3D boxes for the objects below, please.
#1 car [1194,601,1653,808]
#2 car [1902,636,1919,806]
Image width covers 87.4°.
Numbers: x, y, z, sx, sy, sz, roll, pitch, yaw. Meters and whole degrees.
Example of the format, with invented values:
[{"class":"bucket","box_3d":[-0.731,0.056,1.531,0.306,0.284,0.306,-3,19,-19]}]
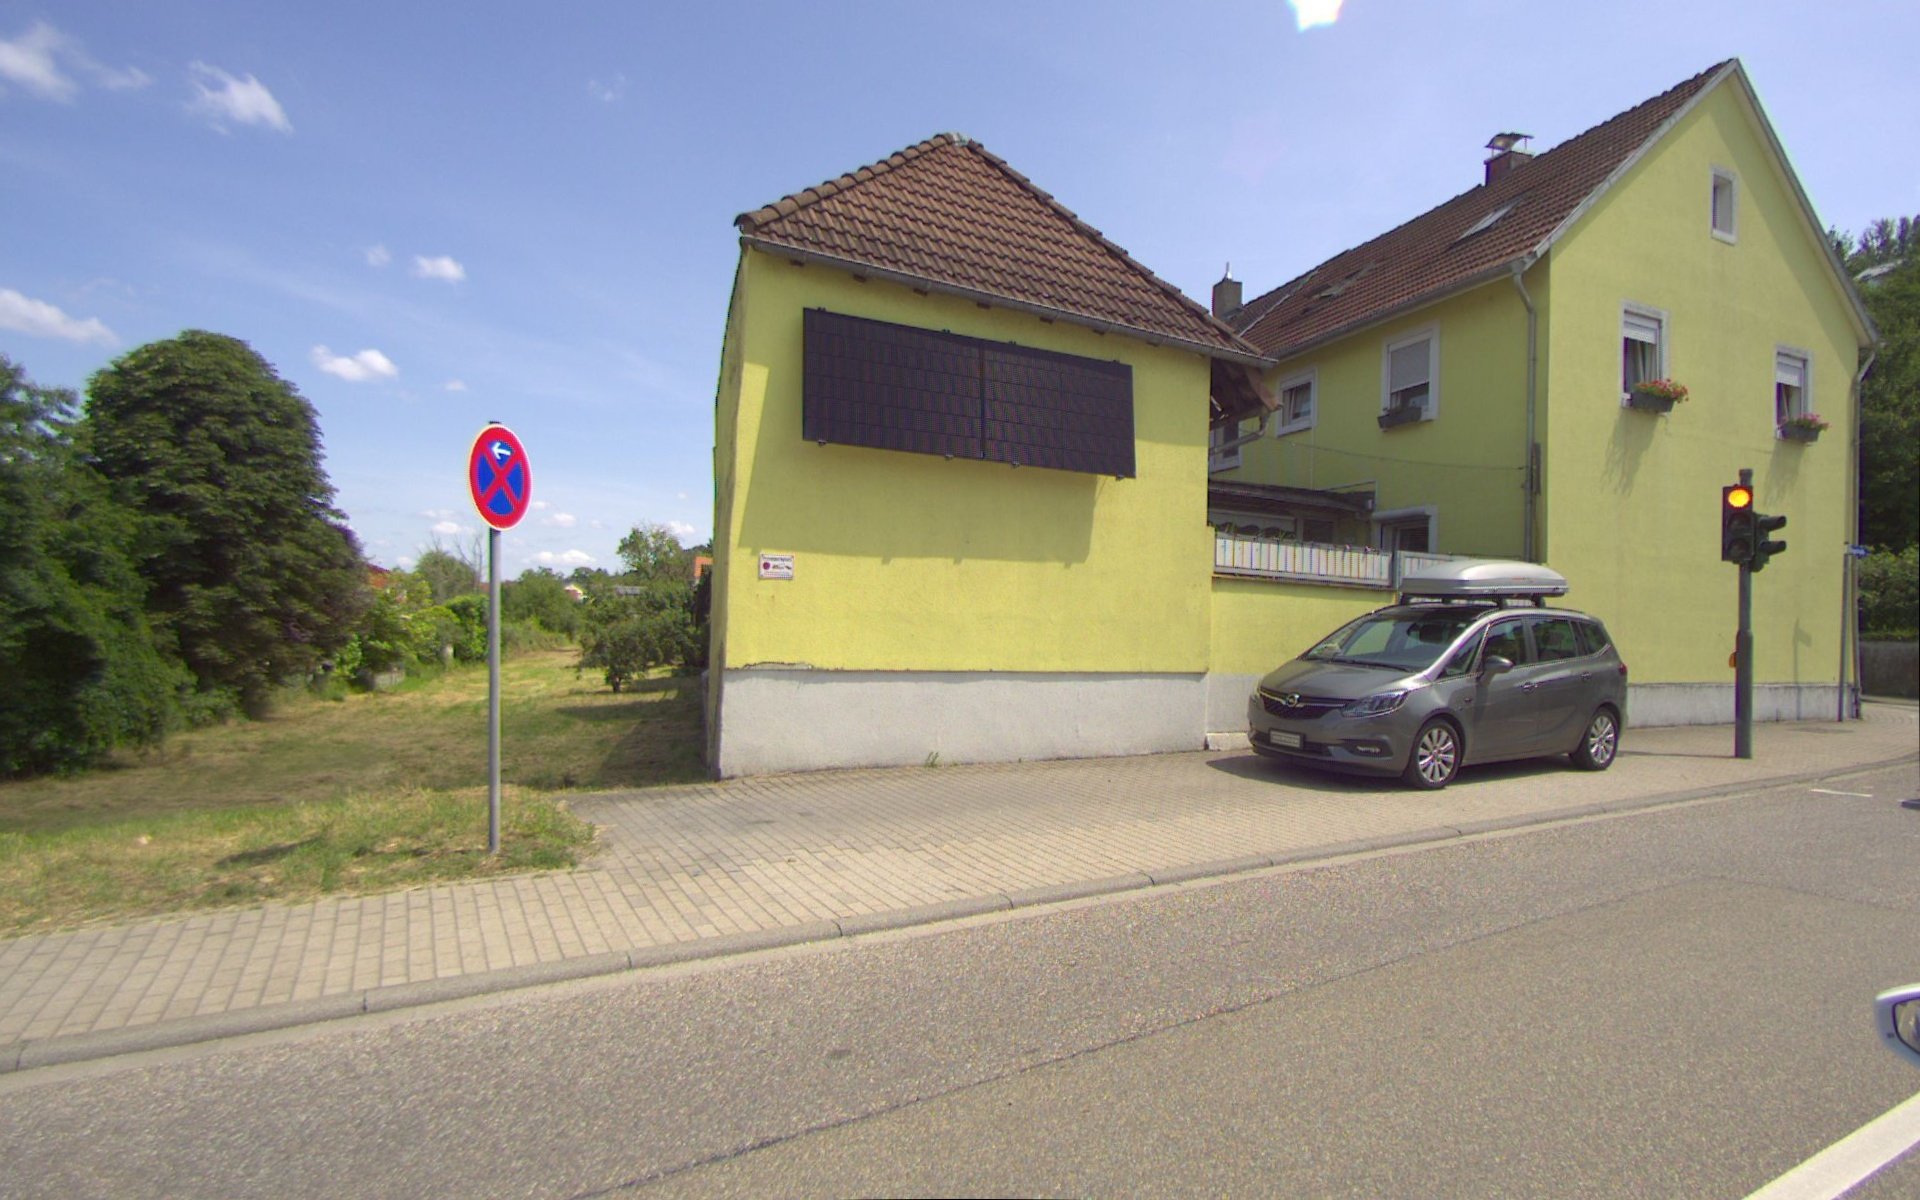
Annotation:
[{"class":"car","box_3d":[4.794,0.909,10.250,4.576,1.657,1.984,1,0,-30]},{"class":"car","box_3d":[10.654,1.060,9.026,4.614,1.461,1.856,1,-2,-29]}]
